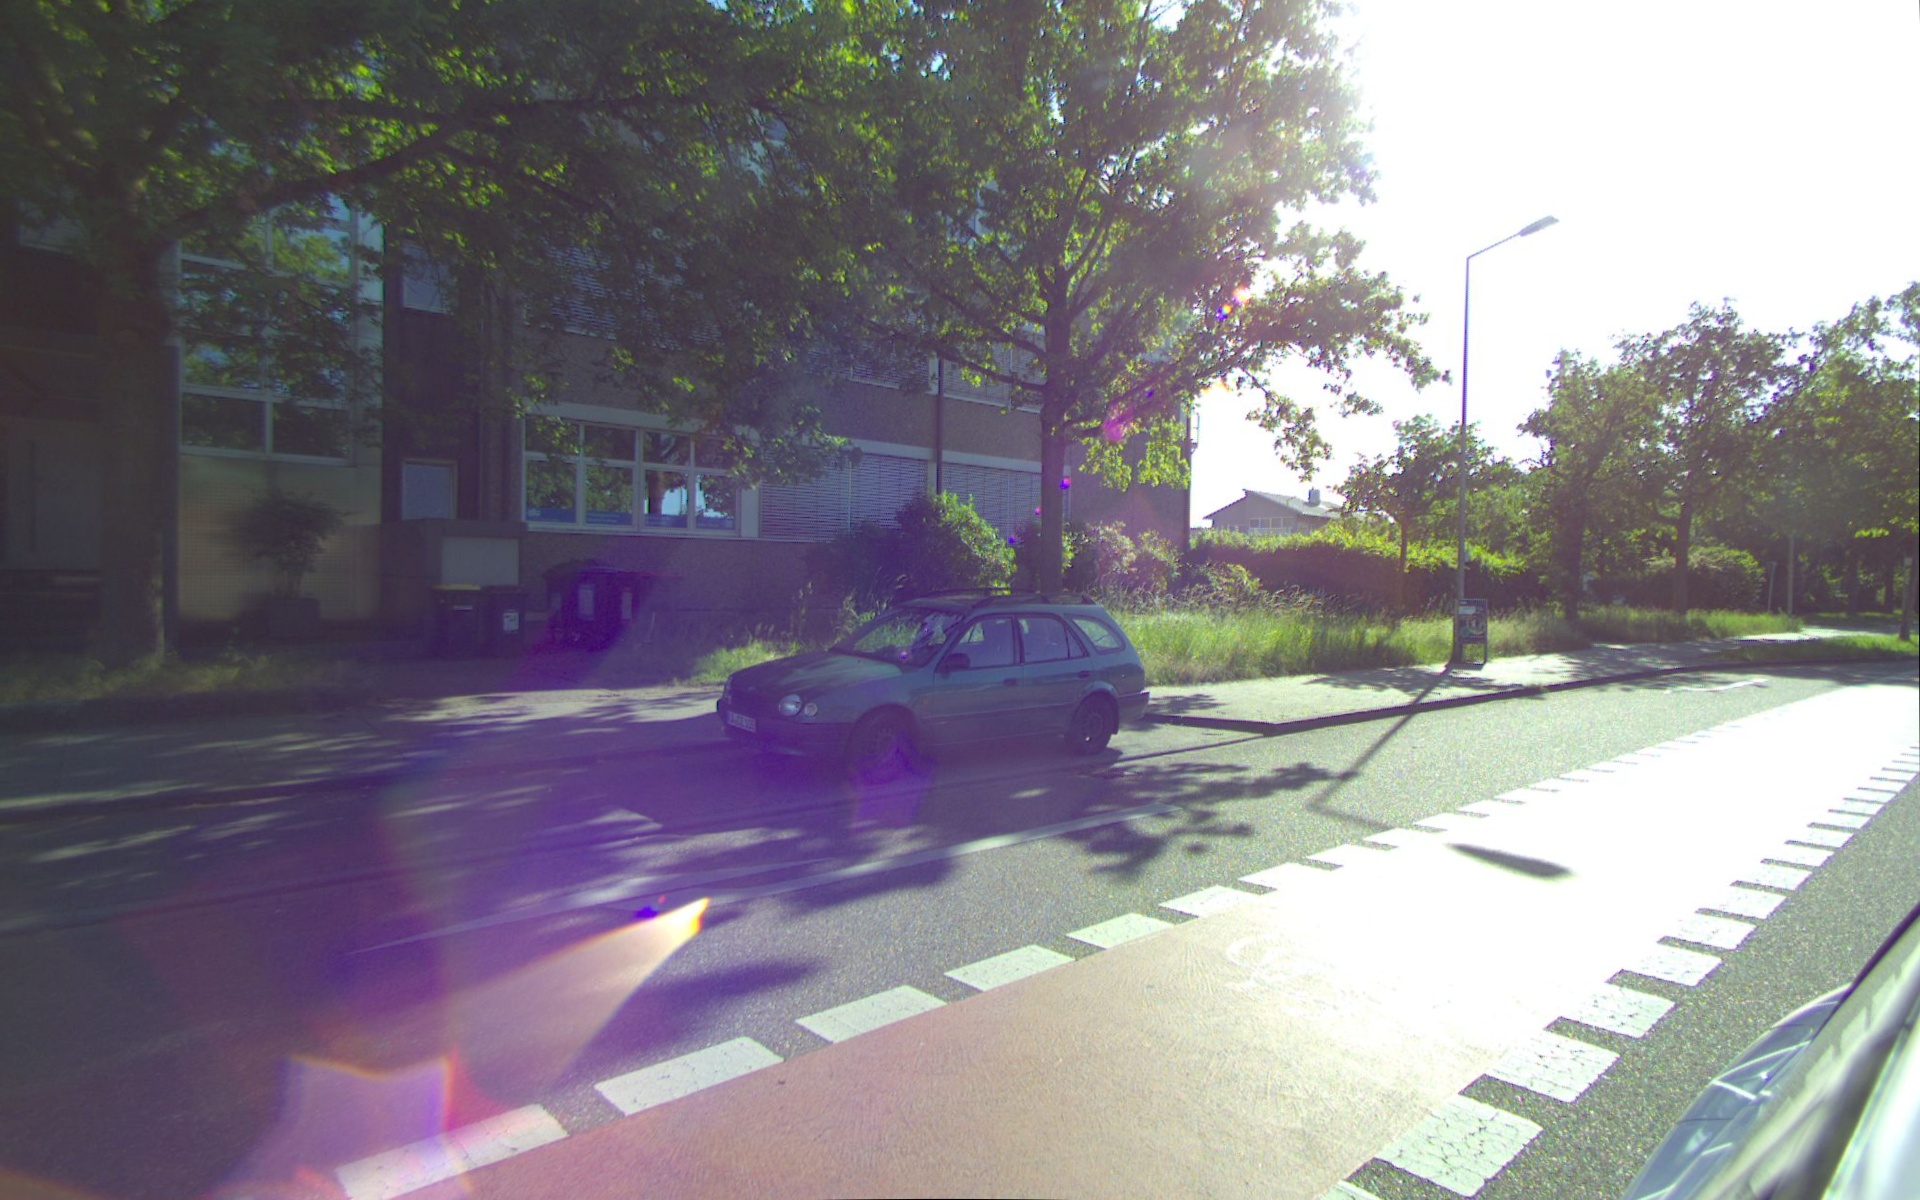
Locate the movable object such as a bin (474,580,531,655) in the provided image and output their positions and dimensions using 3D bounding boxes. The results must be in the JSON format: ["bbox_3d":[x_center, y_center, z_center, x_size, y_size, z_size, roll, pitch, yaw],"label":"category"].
[{"bbox_3d":[-6.770,0.244,14.974,0.604,1.075,0.634,0,1,-42],"label":"movable object such as a bin"}]

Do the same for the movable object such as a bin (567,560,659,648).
[{"bbox_3d":[-5.783,0.046,16.857,1.070,1.388,1.186,0,2,-43],"label":"movable object such as a bin"}]

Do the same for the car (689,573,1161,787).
[{"bbox_3d":[-0.156,0.578,9.129,4.068,1.487,1.705,1,1,-41],"label":"car"}]

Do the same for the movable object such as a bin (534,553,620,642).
[{"bbox_3d":[-6.792,-0.070,17.937,1.024,1.501,1.309,0,2,-41],"label":"movable object such as a bin"}]

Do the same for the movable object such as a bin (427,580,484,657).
[{"bbox_3d":[-7.226,0.249,14.493,0.575,1.070,0.625,0,1,-42],"label":"movable object such as a bin"}]

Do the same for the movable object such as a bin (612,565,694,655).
[{"bbox_3d":[-4.792,0.129,15.770,0.878,1.323,1.186,0,2,-37],"label":"movable object such as a bin"}]
